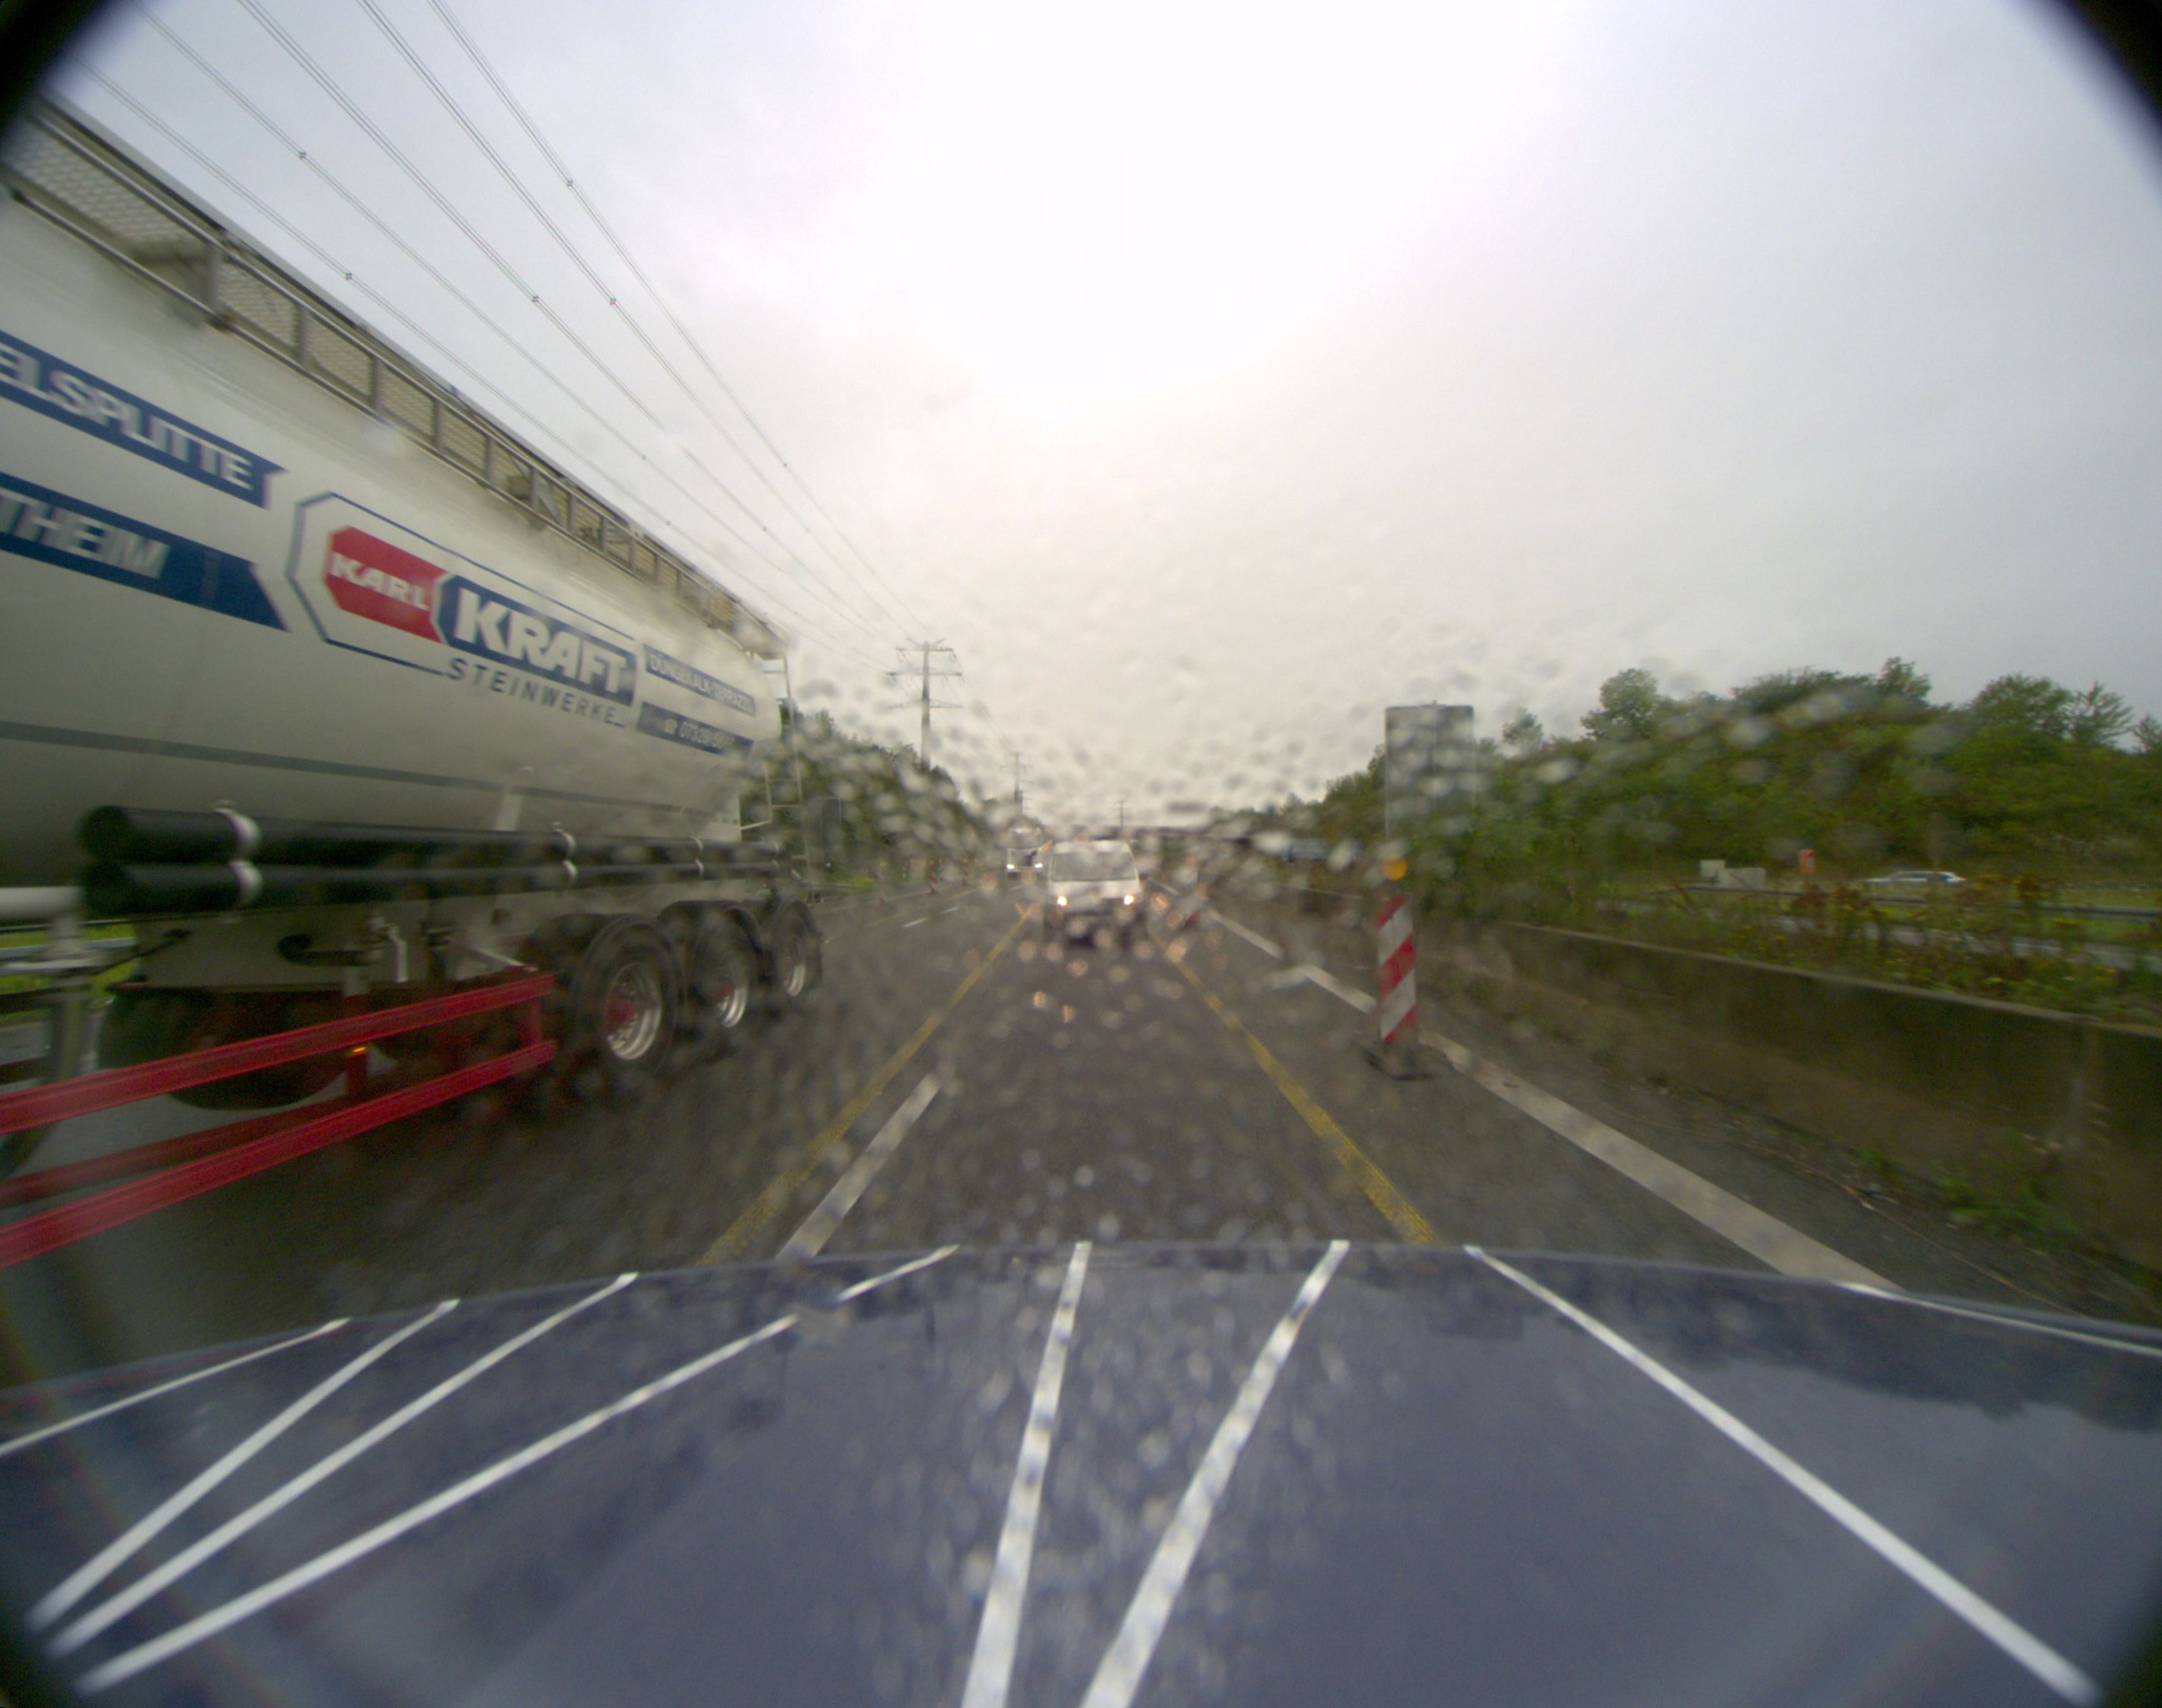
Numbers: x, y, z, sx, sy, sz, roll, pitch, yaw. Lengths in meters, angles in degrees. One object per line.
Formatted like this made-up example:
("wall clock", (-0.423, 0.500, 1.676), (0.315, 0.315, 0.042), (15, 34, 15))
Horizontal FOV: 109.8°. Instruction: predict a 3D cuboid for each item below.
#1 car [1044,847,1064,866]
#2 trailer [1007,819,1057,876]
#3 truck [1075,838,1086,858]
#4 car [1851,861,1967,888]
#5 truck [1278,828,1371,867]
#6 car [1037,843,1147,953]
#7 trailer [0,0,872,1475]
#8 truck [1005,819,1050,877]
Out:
("car", (-3.083, 0.232, 87.696), (1.998, 2.002, 3.999), (-2, 1, 1))
("trailer", (-3.732, -0.558, 61.357), (2.808, 3.980, 14.147), (-2, 1, 1))
("truck", (-0.063, -1.403, 183.575), (2.276, 3.688, 6.643), (-2, 11, 1))
("car", (46.689, 1.116, 42.952), (3.989, 1.395, 1.924), (0, 1, 27))
("truck", (24.568, -0.616, 77.985), (2.901, 3.598, 14.568), (0, 0, -9))
("car", (0.161, 0.724, 14.987), (1.770, 1.774, 4.647), (-2, 0, -1))
("trailer", (-3.925, -0.375, 2.782), (2.526, 3.812, 12.349), (-2, 1, 1))
("truck", (-3.808, -0.454, 55.188), (2.748, 3.912, 5.396), (-2, 1, 1))
